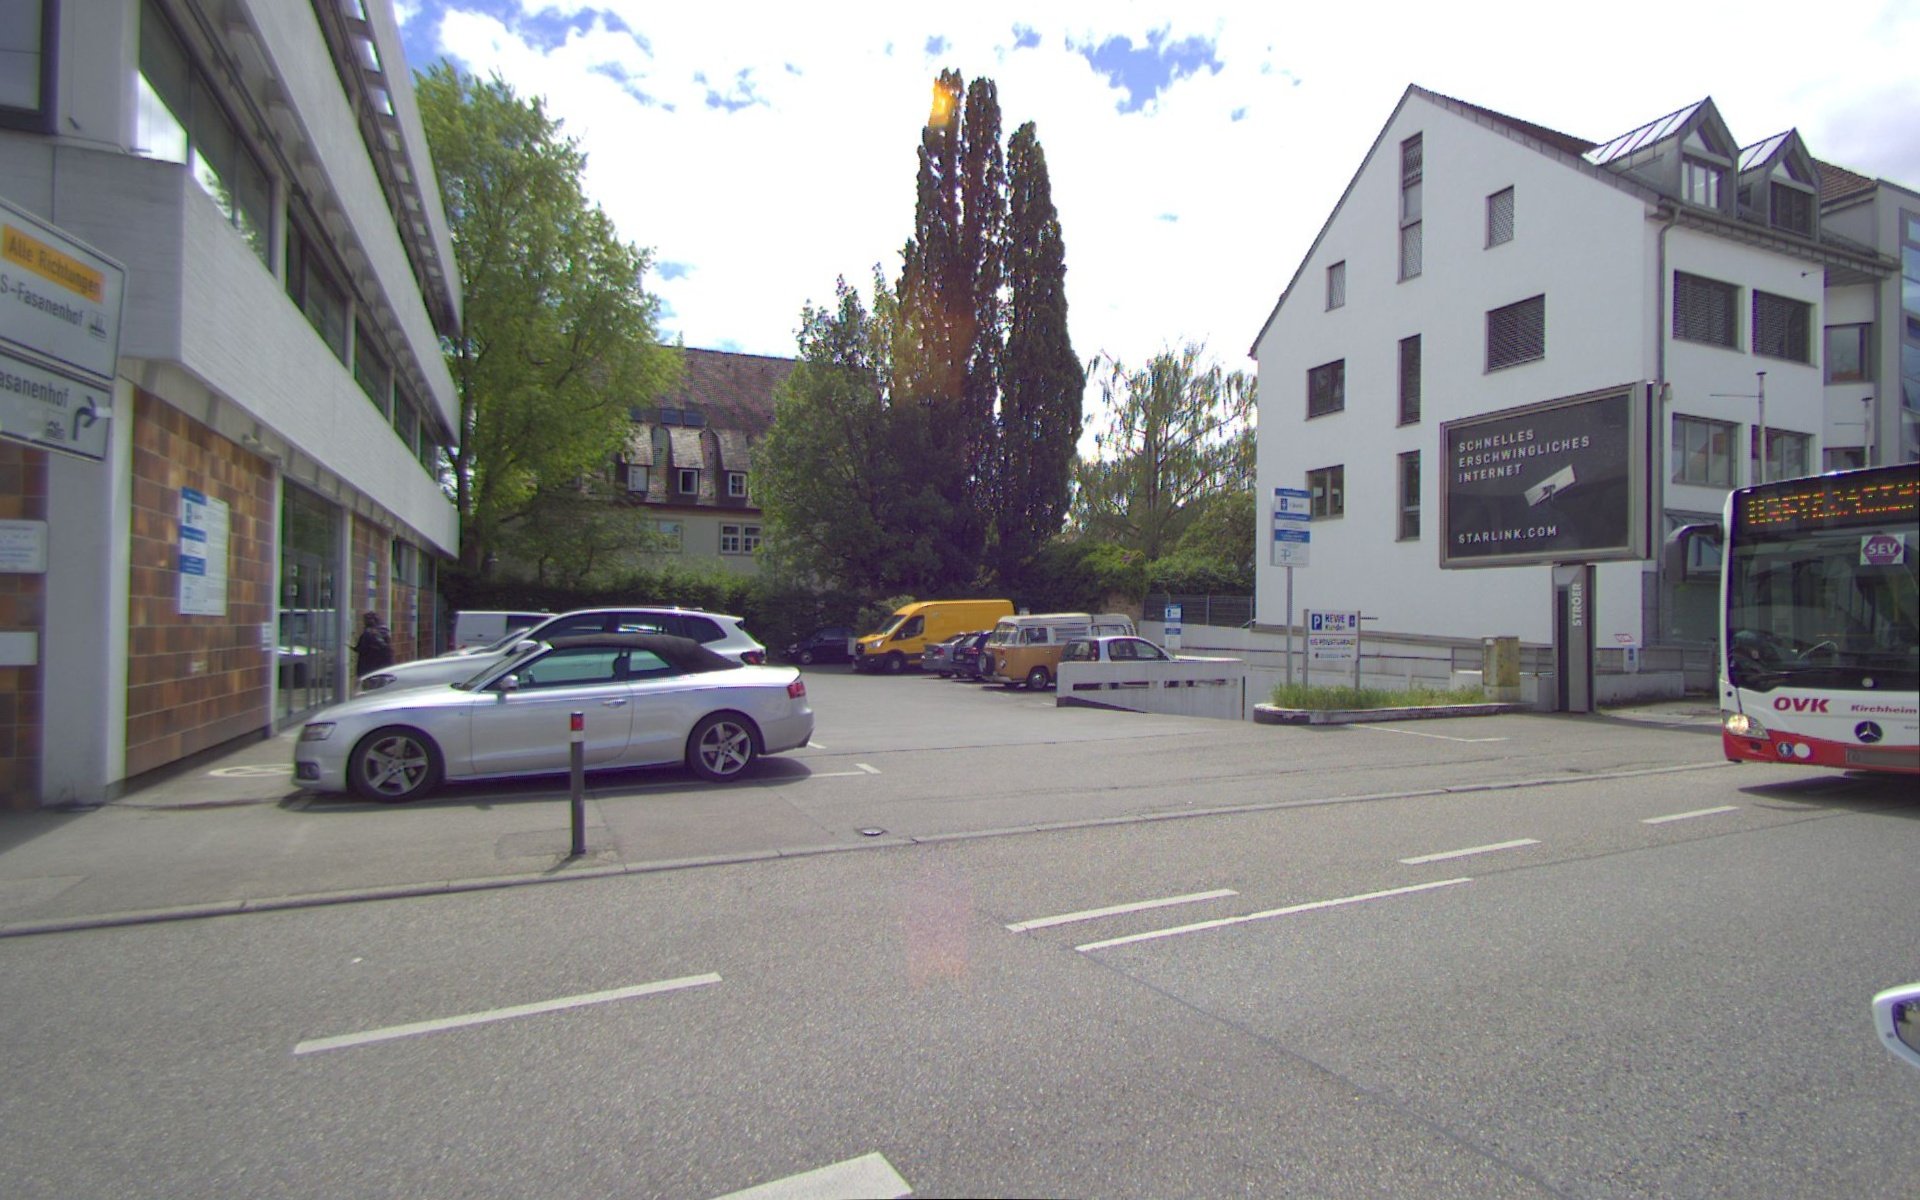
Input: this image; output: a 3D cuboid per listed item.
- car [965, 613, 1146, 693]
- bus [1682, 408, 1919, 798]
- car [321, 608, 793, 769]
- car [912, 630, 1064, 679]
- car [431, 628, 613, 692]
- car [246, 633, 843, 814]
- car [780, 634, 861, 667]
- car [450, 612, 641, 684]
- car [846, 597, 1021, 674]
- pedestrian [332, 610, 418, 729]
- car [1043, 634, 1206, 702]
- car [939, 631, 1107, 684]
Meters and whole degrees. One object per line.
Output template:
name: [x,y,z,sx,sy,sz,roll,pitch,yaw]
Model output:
car: [2.585,1.376,27.029,4.585,2.016,1.833,1,-1,-25]
bus: [12.135,0.110,11.018,10.056,3.205,2.672,1,-2,-28]
car: [-4.624,0.971,12.095,4.857,1.640,1.948,0,-4,-22]
car: [0.876,1.706,31.632,4.444,1.457,1.808,1,-3,-23]
car: [-10.697,1.431,24.759,3.943,1.480,1.842,1,-2,-23]
car: [-3.698,1.008,9.626,4.788,1.376,1.946,1,-1,-24]
car: [-5.650,2.028,40.584,2.992,1.200,1.414,1,1,-22]
car: [-12.043,1.367,29.455,5.015,1.967,1.964,1,-1,-23]
car: [-0.929,1.286,35.616,5.897,2.563,2.056,1,-3,-26]
pedestrian: [-8.664,1.018,14.915,0.981,1.693,0.716,1,-3,-23]
car: [4.073,1.615,24.775,3.714,1.549,1.803,1,-2,-31]
car: [1.862,1.645,29.467,4.616,1.457,1.808,1,-1,-23]
